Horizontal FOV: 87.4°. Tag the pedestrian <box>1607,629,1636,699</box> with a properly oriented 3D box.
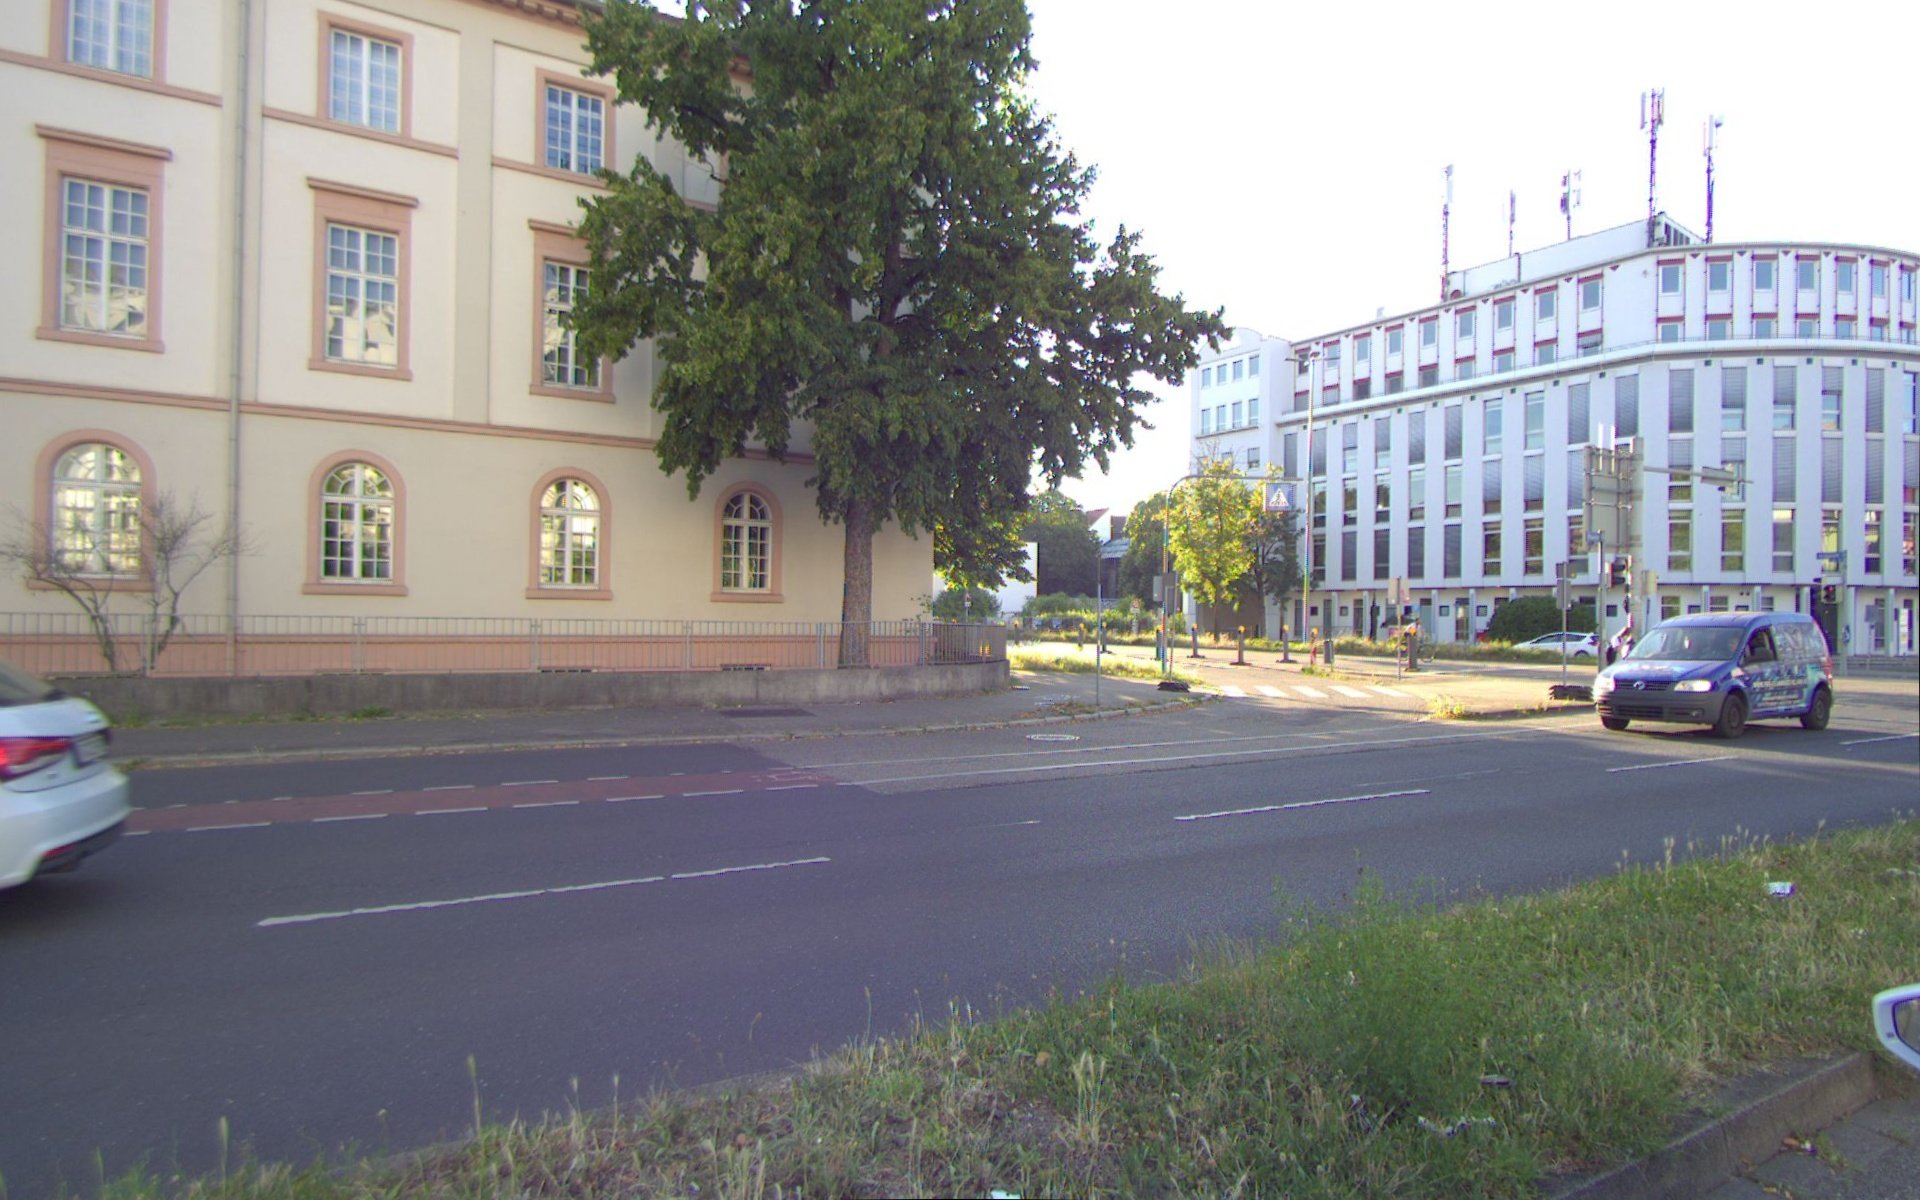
[{"bbox_3d":[14.702,1.407,22.331,0.332,1.525,0.470,1,-1,-41],"label":"pedestrian"}]

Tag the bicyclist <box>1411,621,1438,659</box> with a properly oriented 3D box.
[{"bbox_3d":[18.607,1.591,40.259,0.453,1.516,0.879,1,-1,-36],"label":"bicyclist"}]

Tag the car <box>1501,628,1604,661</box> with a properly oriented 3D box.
[{"bbox_3d":[27.014,1.991,45.871,1.634,1.390,3.757,1,-1,-35],"label":"car"}]

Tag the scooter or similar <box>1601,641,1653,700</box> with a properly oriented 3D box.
[{"bbox_3d":[14.760,1.547,22.237,0.368,1.250,0.885,1,-1,-40],"label":"scooter or similar"}]

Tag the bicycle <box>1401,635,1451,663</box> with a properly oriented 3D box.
[{"bbox_3d":[18.638,1.945,40.213,0.498,1.056,1.786,1,-1,-35],"label":"bicycle"}]

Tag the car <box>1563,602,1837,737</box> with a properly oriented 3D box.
[{"bbox_3d":[11.564,1.006,15.657,4.180,1.841,1.984,1,-1,-31],"label":"car"}]
